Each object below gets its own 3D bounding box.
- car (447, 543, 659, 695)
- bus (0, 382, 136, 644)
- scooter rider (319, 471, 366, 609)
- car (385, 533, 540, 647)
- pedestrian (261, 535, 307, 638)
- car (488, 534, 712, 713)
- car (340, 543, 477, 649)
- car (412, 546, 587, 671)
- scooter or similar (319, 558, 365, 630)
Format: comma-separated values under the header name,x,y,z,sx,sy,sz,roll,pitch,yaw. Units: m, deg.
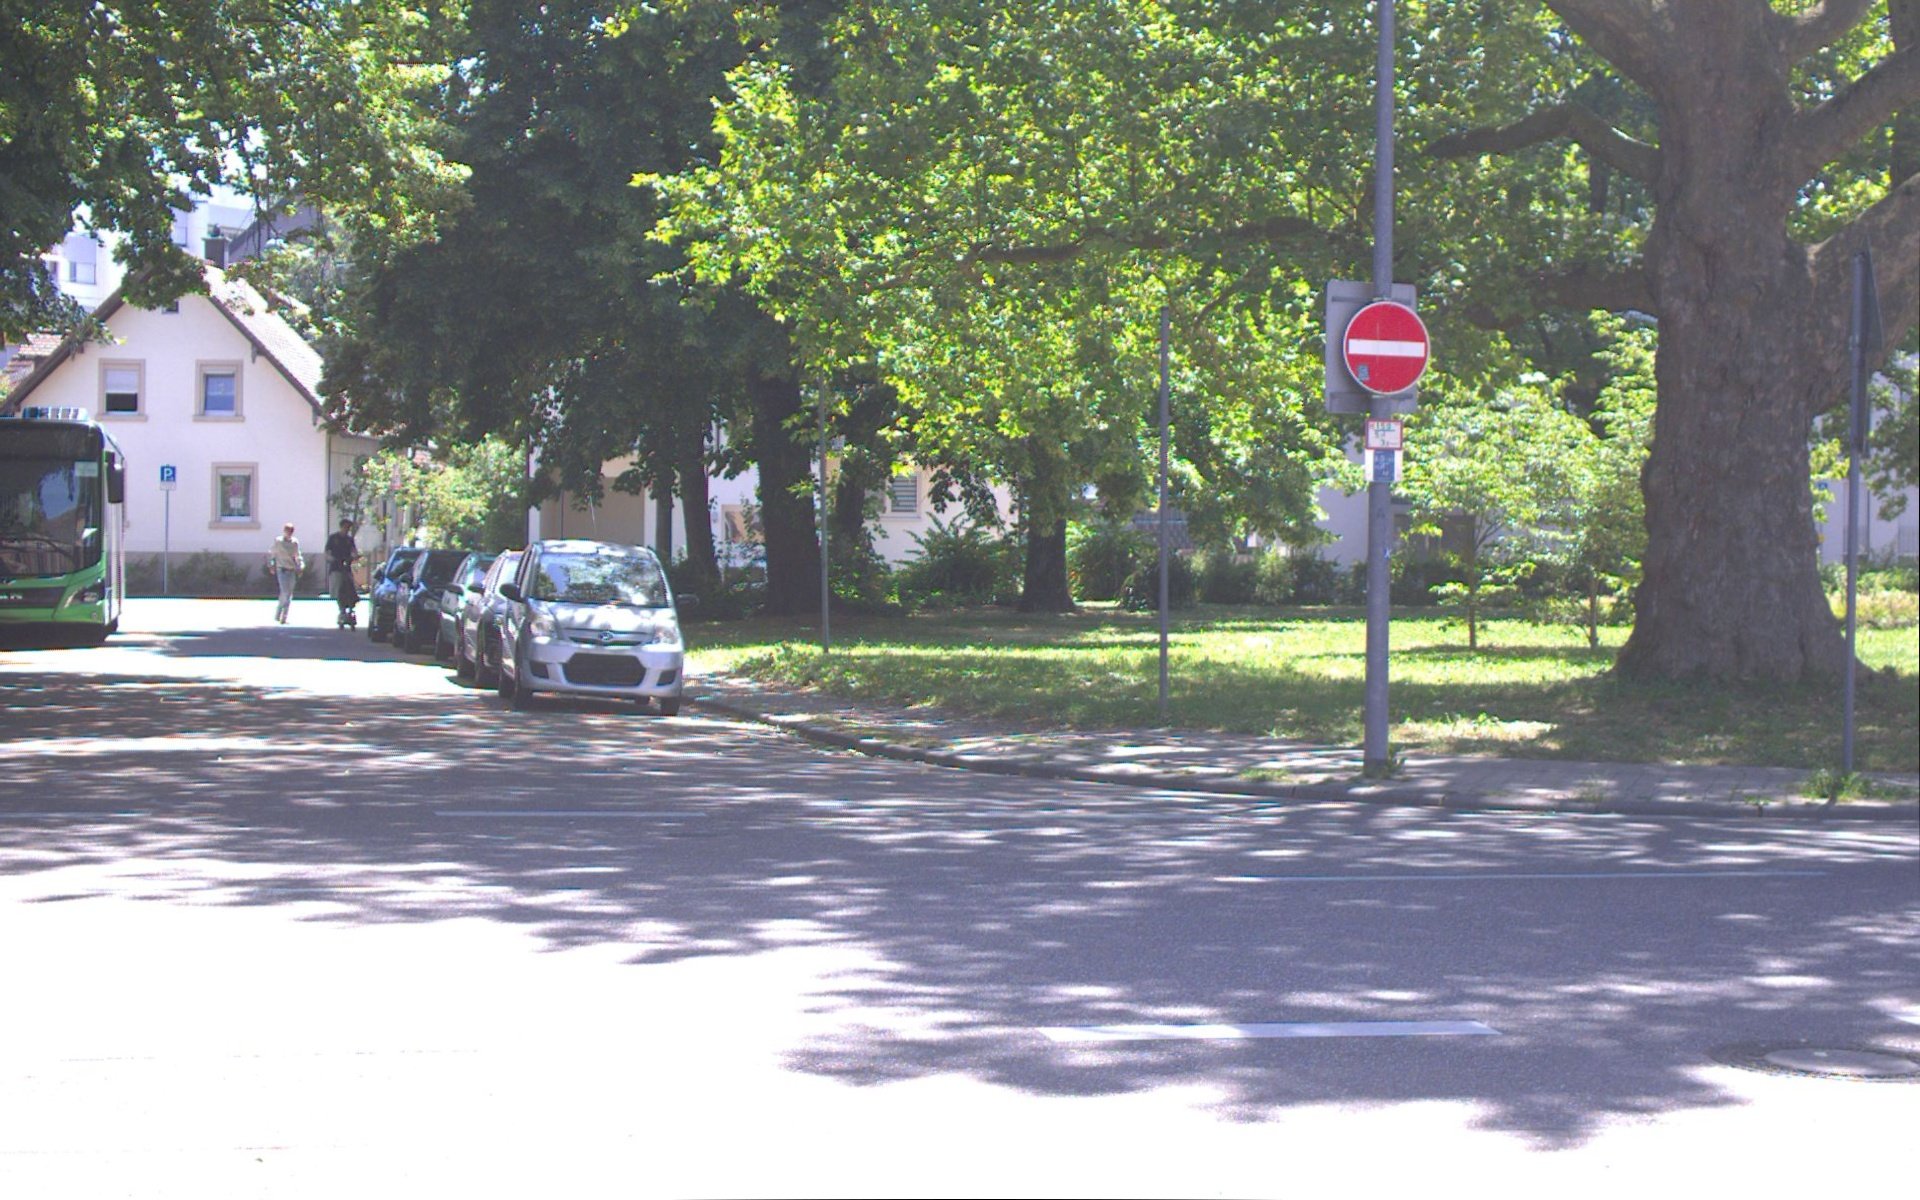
name,x,y,z,sx,sy,sz,roll,pitch,yaw
car,-4.431,0.163,36.897,1.750,1.434,4.505,2,1,-13
bus,-13.811,-1.275,50.992,2.867,3.283,15.956,1,1,-13
scooter rider,-10.462,-1.024,58.247,0.738,2.310,0.927,0,1,-11
car,-6.995,-0.174,48.034,1.754,1.488,4.377,1,1,-13
pedestrian,-11.969,-0.250,60.926,0.719,1.796,0.941,1,1,-7
car,-3.362,0.177,31.607,1.594,1.492,3.487,2,1,-13
car,-8.363,-0.086,51.931,1.754,1.488,3.919,1,1,-13
car,-5.865,0.068,43.418,1.750,1.434,4.771,1,1,-13
scooter or similar,-10.475,-0.112,58.254,0.738,1.179,1.519,0,1,-11
